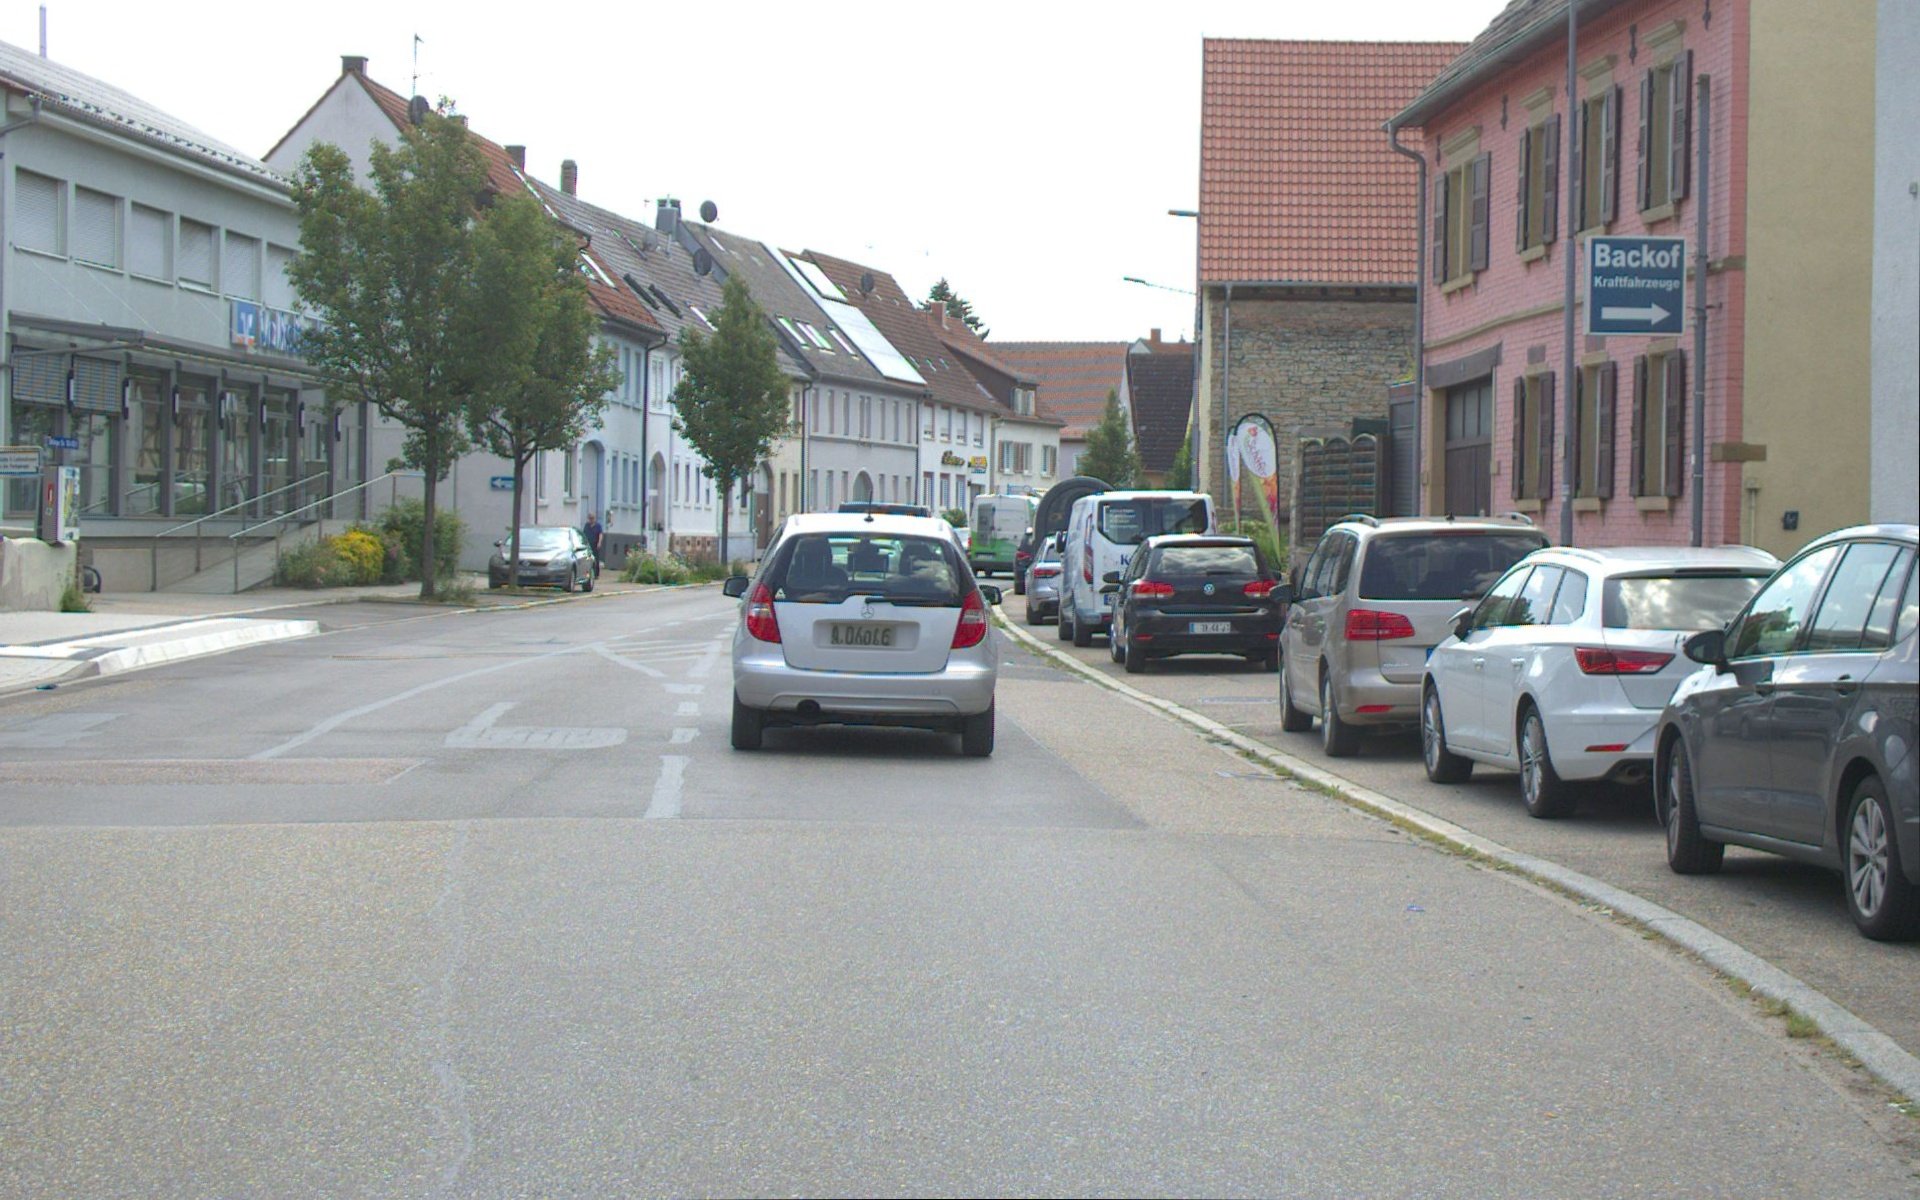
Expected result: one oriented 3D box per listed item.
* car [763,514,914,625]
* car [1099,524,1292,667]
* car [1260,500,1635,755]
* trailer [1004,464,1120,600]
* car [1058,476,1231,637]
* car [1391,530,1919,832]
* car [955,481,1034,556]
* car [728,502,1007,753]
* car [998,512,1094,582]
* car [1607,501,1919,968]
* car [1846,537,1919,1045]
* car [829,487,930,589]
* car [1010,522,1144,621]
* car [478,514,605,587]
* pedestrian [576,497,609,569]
[{"bbox_3d":[-1.646,-0.445,46.643,1.945,1.402,4.001,1,2,-2],"label":"car"},{"bbox_3d":[2.556,-0.091,38.180,1.774,1.490,4.162,0,1,-1],"label":"car"},{"bbox_3d":[3.398,0.129,24.778,1.993,1.675,4.323,0,1,-1],"label":"car"},{"bbox_3d":[1.780,-1.216,60.937,1.845,2.346,3.590,0,2,-2],"label":"trailer"},{"bbox_3d":[2.401,-0.608,45.958,1.892,1.975,4.931,-2,1,-1],"label":"car"},{"bbox_3d":[3.922,0.367,19.661,1.993,1.512,4.372,0,1,-5],"label":"car"},{"bbox_3d":[1.077,-2.477,105.157,2.236,2.214,4.000,0,1,3],"label":"car"},{"bbox_3d":[-0.664,0.141,24.228,1.769,1.589,4.000,1,1,-2],"label":"car"},{"bbox_3d":[1.975,-1.259,80.035,1.993,1.554,4.001,-1,2,-2],"label":"car"},{"bbox_3d":[3.972,0.413,14.055,1.662,1.619,4.272,0,1,-3],"label":"car"},{"bbox_3d":[4.543,0.565,10.428,3.226,1.499,1.827,-1,2,-30],"label":"car"},{"bbox_3d":[-1.585,-1.227,68.783,1.769,1.881,4.447,3,1,1],"label":"car"},{"bbox_3d":[1.844,-0.494,55.440,1.875,1.476,4.675,1,1,-1],"label":"car"},{"bbox_3d":[-8.886,-1.076,73.331,1.805,1.455,4.157,1,1,6],"label":"car"},{"bbox_3d":[-9.124,-1.659,85.271,0.739,1.795,0.642,0,0,0],"label":"pedestrian"}]
